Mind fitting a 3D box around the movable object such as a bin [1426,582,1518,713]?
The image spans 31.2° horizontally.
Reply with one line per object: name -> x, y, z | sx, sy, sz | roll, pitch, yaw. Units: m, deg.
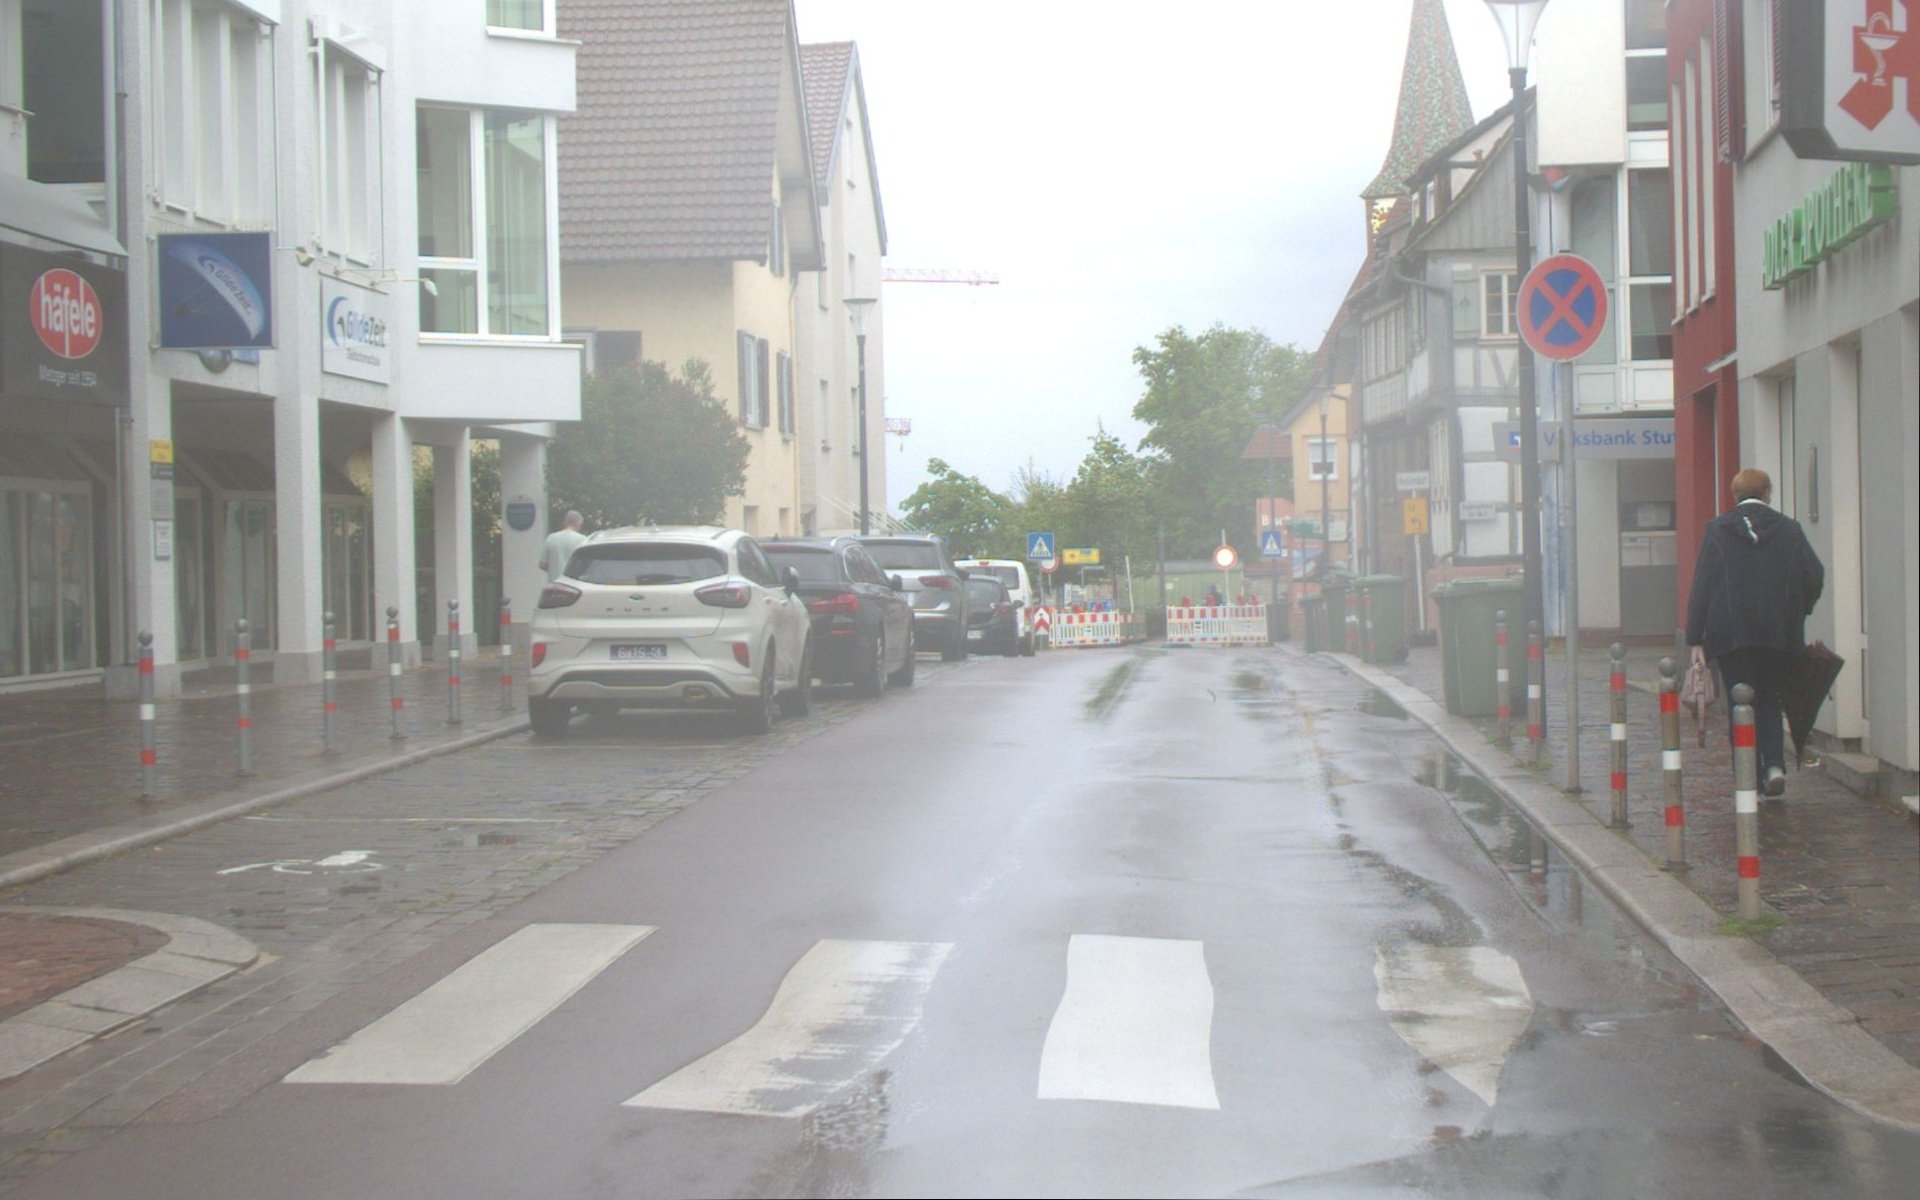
movable object such as a bin -> 4.308, 0.396, 28.956 | 0.729, 1.077, 0.646 | -1, 0, 6

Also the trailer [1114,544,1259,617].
trailer -> 9.272, -0.789, 141.310 | 5.781, 2.937, 2.000 | 0, -1, -1

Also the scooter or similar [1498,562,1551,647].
scooter or similar -> 7.774, 0.072, 47.300 | 0.665, 1.142, 1.445 | -1, -1, 11

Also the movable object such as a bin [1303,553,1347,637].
movable object such as a bin -> 5.620, -0.070, 52.893 | 0.638, 1.286, 0.632 | -1, -1, 9

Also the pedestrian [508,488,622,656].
pedestrian -> -4.289, -0.309, 37.414 | 1.035, 1.800, 1.116 | 0, 0, 4

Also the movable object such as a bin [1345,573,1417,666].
movable object such as a bin -> 5.195, 0.246, 42.488 | 0.804, 1.127, 0.862 | -1, -1, 3

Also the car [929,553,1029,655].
car -> 0.385, 0.110, 63.993 | 1.723, 1.819, 4.428 | 0, -1, 2

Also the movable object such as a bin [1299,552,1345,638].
movable object such as a bin -> 5.493, -0.068, 52.128 | 0.638, 1.286, 0.632 | -1, -1, 9

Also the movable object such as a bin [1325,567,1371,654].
movable object such as a bin -> 5.801, 0.163, 51.425 | 0.638, 1.286, 0.632 | -1, -1, 9

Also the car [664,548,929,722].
car -> -1.467, 0.279, 32.710 | 1.831, 1.493, 4.762 | -1, 1, 5

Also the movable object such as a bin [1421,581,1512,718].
movable object such as a bin -> 4.062, 0.394, 27.603 | 0.676, 1.080, 0.697 | -1, 0, 6

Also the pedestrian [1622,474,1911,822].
pedestrian -> 4.130, 0.235, 17.714 | 1.177, 1.692, 1.177 | -2, 0, 2

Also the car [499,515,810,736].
car -> -2.261, 0.189, 26.476 | 1.791, 1.545, 3.999 | 1, 0, 3

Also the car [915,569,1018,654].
car -> 0.123, 0.223, 58.254 | 1.681, 1.384, 3.825 | 0, -1, 1

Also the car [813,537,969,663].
car -> -0.854, 0.033, 45.155 | 1.780, 1.563, 4.407 | 0, -1, 2

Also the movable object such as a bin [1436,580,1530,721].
movable object such as a bin -> 4.077, 0.390, 26.837 | 0.676, 1.082, 0.718 | -1, 0, 6

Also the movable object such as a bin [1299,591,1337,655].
movable object such as a bin -> 6.481, 0.419, 62.159 | 0.638, 1.143, 0.603 | -1, -1, 9

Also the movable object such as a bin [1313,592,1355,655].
movable object such as a bin -> 6.482, 0.404, 59.603 | 0.678, 1.093, 0.650 | 0, -1, 1
